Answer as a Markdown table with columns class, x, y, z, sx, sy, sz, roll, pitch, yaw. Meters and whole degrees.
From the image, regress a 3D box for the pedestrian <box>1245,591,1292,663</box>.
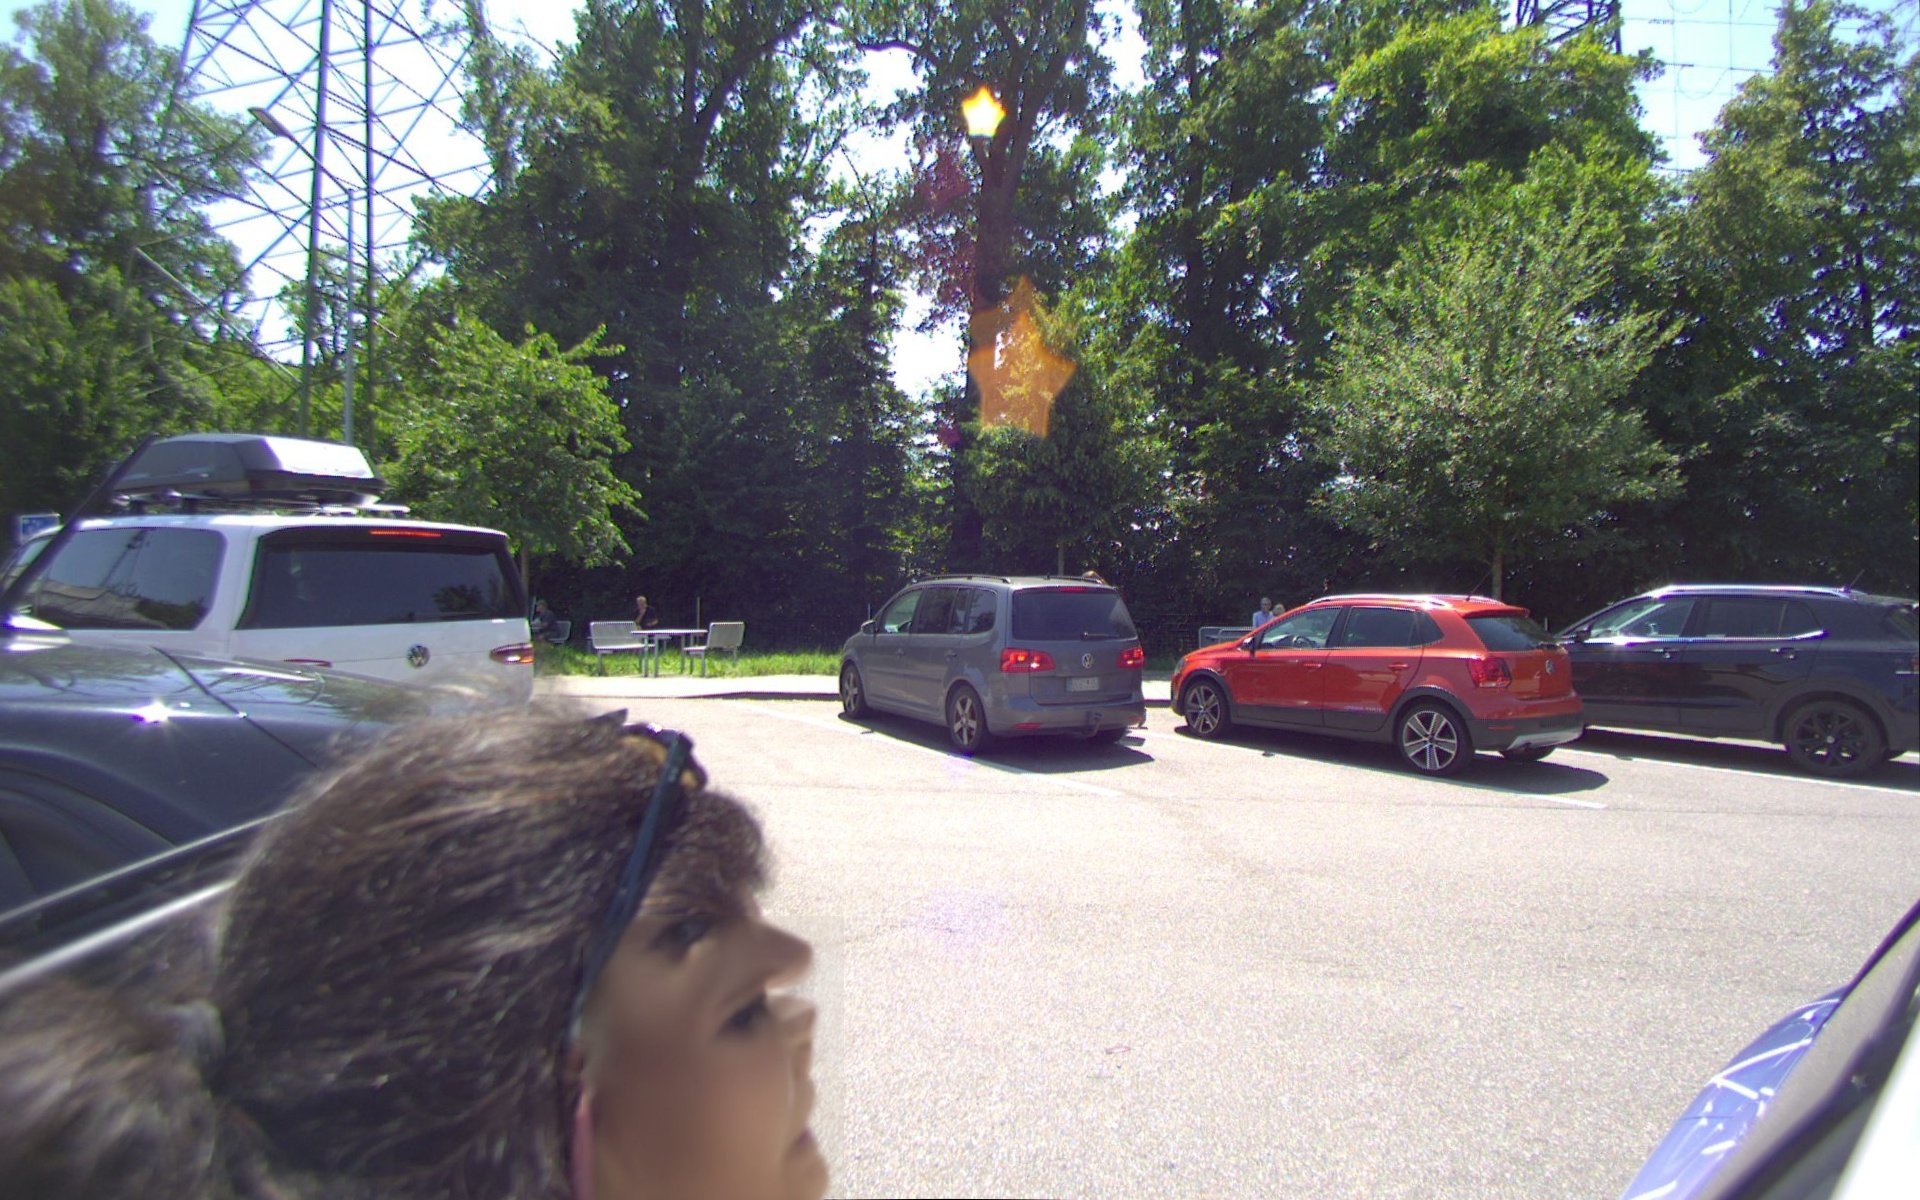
| class | x | y | z | sx | sy | sz | roll | pitch | yaw |
| --- | --- | --- | --- | --- | --- | --- | --- | --- | --- |
| pedestrian | 5.782 | 0.496 | 18.983 | 0.657 | 1.311 | 0.783 | 0 | 0 | 3 |

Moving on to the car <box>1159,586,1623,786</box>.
| class | x | y | z | sx | sy | sz | roll | pitch | yaw |
| --- | --- | --- | --- | --- | --- | --- | --- | --- | --- |
| car | 3.850 | 0.621 | 9.654 | 1.687 | 1.484 | 3.793 | 0 | 1 | -32 |

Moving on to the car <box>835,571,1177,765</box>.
| class | x | y | z | sx | sy | sz | roll | pitch | yaw |
| --- | --- | --- | --- | --- | --- | --- | --- | --- | --- |
| car | 0.250 | 0.529 | 10.523 | 1.713 | 1.601 | 3.996 | 0 | 1 | -29 |

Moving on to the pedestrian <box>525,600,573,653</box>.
| class | x | y | z | sx | sy | sz | roll | pitch | yaw |
| --- | --- | --- | --- | --- | --- | --- | --- | --- | --- |
| pedestrian | -9.605 | 0.599 | 23.630 | 0.873 | 1.192 | 0.668 | 0 | 0 | -41 |

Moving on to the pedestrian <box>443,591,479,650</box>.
| class | x | y | z | sx | sy | sz | roll | pitch | yaw |
| --- | --- | --- | --- | --- | --- | --- | --- | --- | --- |
| pedestrian | -12.345 | 0.487 | 25.040 | 0.657 | 1.422 | 0.649 | 0 | 0 | -39 |

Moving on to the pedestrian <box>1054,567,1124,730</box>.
| class | x | y | z | sx | sy | sz | roll | pitch | yaw |
| --- | --- | --- | --- | --- | --- | --- | --- | --- | --- |
| pedestrian | 1.410 | 0.503 | 11.086 | 0.721 | 1.703 | 0.918 | 0 | 0 | 7 |

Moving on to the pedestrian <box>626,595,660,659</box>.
| class | x | y | z | sx | sy | sz | roll | pitch | yaw |
| --- | --- | --- | --- | --- | --- | --- | --- | --- | --- |
| pedestrian | -6.645 | 0.543 | 21.272 | 0.655 | 1.311 | 0.786 | 0 | 0 | -16 |

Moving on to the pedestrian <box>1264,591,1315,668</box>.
| class | x | y | z | sx | sy | sz | roll | pitch | yaw |
| --- | --- | --- | --- | --- | --- | --- | --- | --- | --- |
| pedestrian | 5.776 | 0.506 | 17.757 | 0.657 | 1.311 | 0.783 | 0 | 0 | 3 |

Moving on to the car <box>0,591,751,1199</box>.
| class | x | y | z | sx | sy | sz | roll | pitch | yaw |
| --- | --- | --- | --- | --- | --- | --- | --- | --- | --- |
| car | -2.206 | 0.723 | 0.604 | 1.737 | 1.501 | 3.757 | 0 | -1 | 44 |

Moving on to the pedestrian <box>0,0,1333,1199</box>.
| class | x | y | z | sx | sy | sz | roll | pitch | yaw |
| --- | --- | --- | --- | --- | --- | --- | --- | --- | --- |
| pedestrian | -0.253 | 0.542 | 0.730 | 0.874 | 1.865 | 0.621 | 0 | 0 | -38 |

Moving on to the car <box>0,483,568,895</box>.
| class | x | y | z | sx | sy | sz | roll | pitch | yaw |
| --- | --- | --- | --- | --- | --- | --- | --- | --- | --- |
| car | -4.882 | 0.380 | 6.750 | 4.527 | 1.936 | 1.891 | 1 | 1 | 31 |

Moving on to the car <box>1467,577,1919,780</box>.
| class | x | y | z | sx | sy | sz | roll | pitch | yaw |
| --- | --- | --- | --- | --- | --- | --- | --- | --- | --- |
| car | 7.177 | 0.586 | 9.713 | 1.690 | 1.593 | 3.787 | 0 | 1 | -39 |

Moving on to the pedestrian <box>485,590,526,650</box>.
| class | x | y | z | sx | sy | sz | roll | pitch | yaw |
| --- | --- | --- | --- | --- | --- | --- | --- | --- | --- |
| pedestrian | -11.022 | 0.473 | 24.544 | 0.664 | 1.422 | 0.643 | 0 | 0 | 32 |

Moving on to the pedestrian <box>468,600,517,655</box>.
| class | x | y | z | sx | sy | sz | roll | pitch | yaw |
| --- | --- | --- | --- | --- | --- | --- | --- | --- | --- |
| pedestrian | -10.521 | 0.611 | 22.775 | 0.873 | 1.192 | 0.668 | 0 | 0 | -41 |
